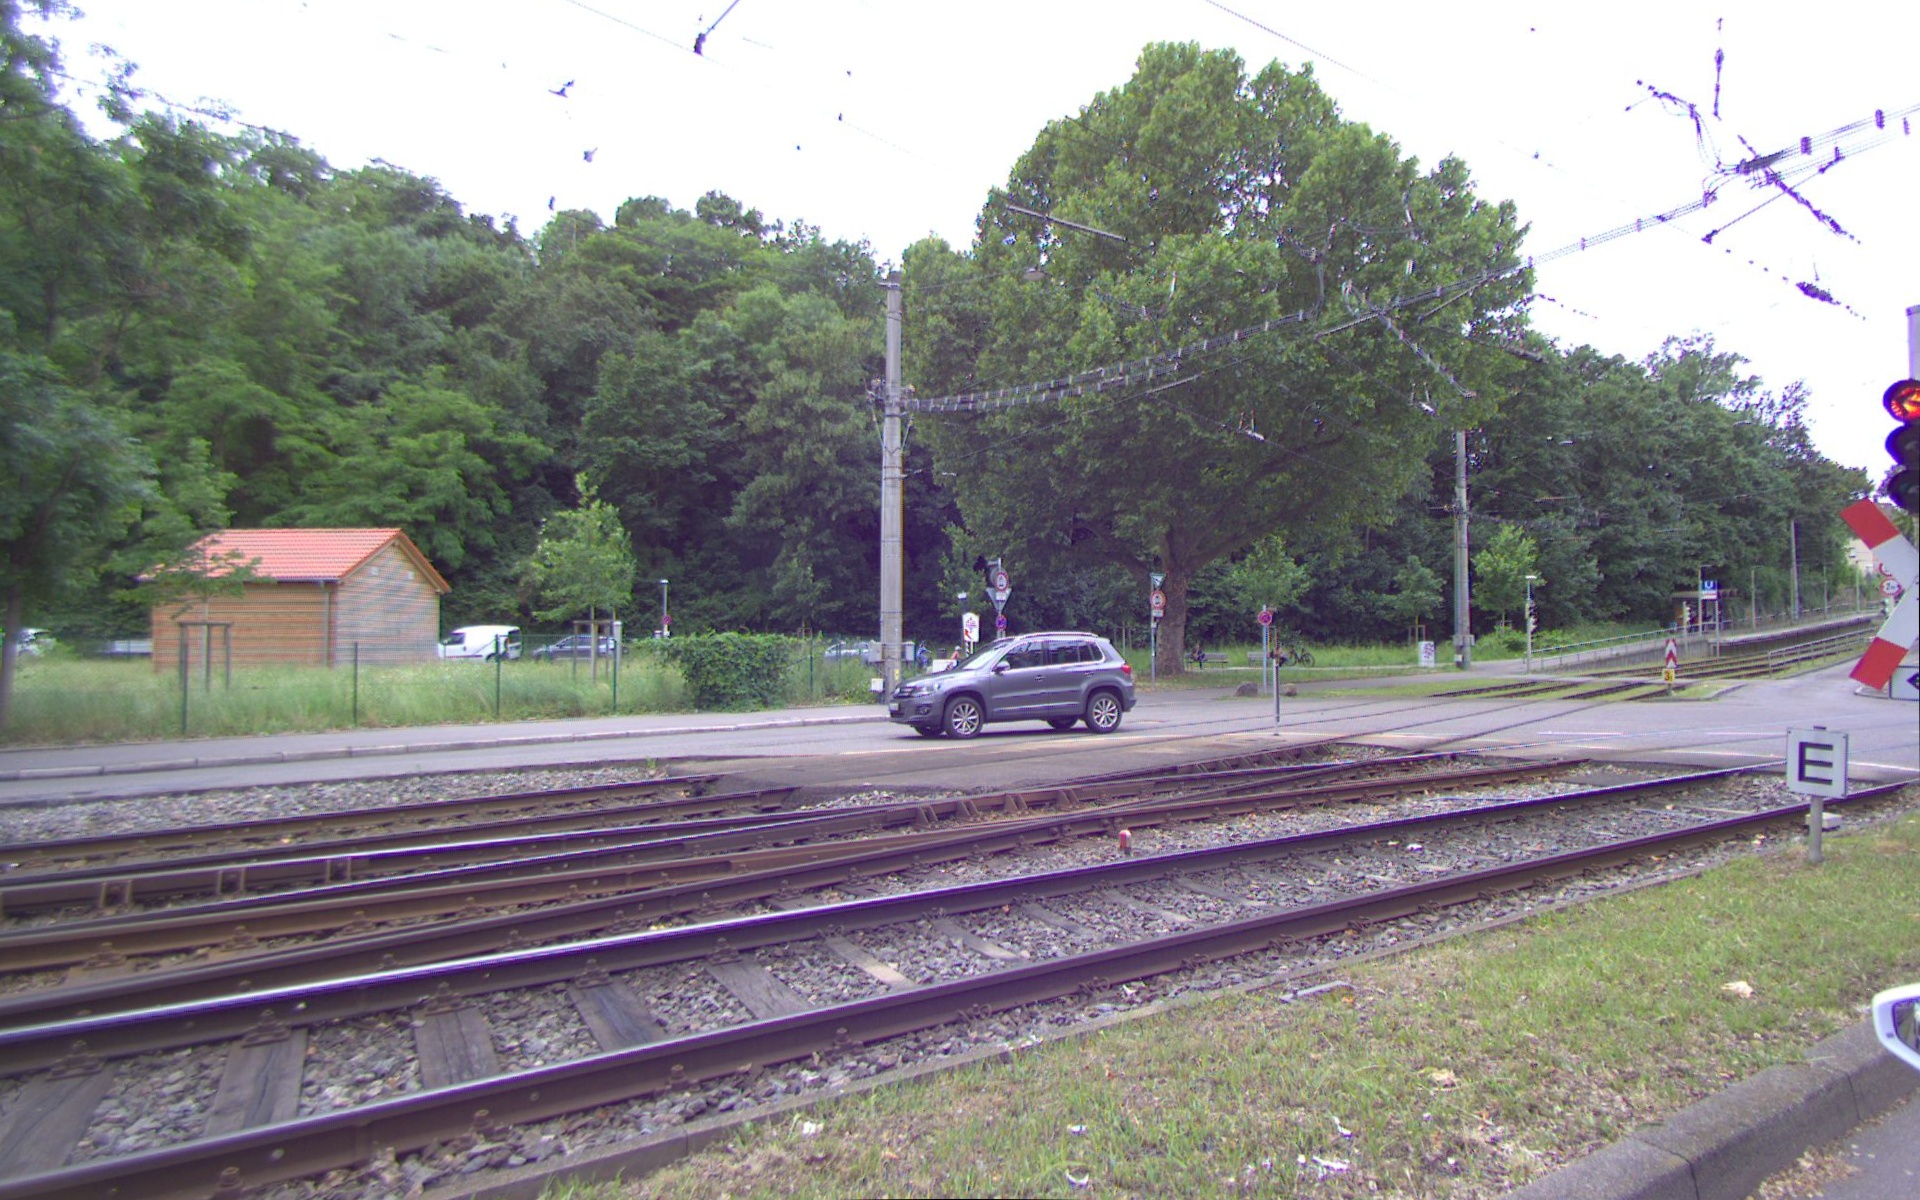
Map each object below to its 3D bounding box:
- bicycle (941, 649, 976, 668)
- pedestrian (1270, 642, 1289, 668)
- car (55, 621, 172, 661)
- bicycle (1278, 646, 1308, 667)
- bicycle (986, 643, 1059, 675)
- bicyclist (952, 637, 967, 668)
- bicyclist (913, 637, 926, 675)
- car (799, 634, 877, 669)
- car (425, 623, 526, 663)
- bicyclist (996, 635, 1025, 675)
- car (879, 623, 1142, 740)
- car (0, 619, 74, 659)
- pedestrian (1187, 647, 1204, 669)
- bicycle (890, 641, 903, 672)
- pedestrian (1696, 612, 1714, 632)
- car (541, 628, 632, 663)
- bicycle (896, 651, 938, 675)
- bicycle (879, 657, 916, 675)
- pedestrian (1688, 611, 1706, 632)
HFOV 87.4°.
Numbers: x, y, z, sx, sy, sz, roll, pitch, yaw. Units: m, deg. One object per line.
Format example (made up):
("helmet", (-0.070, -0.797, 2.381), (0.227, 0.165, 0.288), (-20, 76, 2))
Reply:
("bicycle", (-0.076, 2.637, 45.077), (1.530, 0.749, 0.454), (-2, 2, -6))
("pedestrian", (15.544, 2.664, 48.836), (0.662, 1.251, 0.578), (2, 0, -16))
("car", (-37.595, 1.817, 44.680), (3.610, 1.634, 1.757), (2, 0, -3))
("bicycle", (16.350, 2.775, 49.320), (0.611, 0.897, 1.743), (2, 0, -10))
("bicycle", (2.844, 2.671, 45.618), (3.279, 1.307, 0.735), (-1, 2, 4))
("bicyclist", (-0.022, 2.342, 45.081), (0.570, 1.319, 0.454), (-2, 2, -6))
("bicyclist", (-1.846, 2.534, 45.759), (0.612, 1.697, 0.475), (0, 2, -4))
("car", (-5.655, 2.385, 46.847), (3.436, 1.443, 1.700), (2, 0, -3))
("car", (-21.908, 1.937, 45.523), (3.610, 1.634, 1.909), (2, 0, -3))
("bicyclist", (2.310, 2.474, 45.664), (1.266, 1.734, 0.735), (-1, 2, 4))
("car", (0.848, 1.341, 17.252), (4.074, 1.740, 1.898), (-1, -3, -21))
("car", (-41.788, 1.688, 44.359), (3.612, 1.634, 1.756), (2, 0, -6))
("pedestrian", (11.327, 2.796, 48.336), (0.610, 1.003, 0.530), (2, 0, -15))
("bicycle", (-2.835, 2.521, 44.786), (0.506, 1.348, 0.454), (-1, 2, -9))
("pedestrian", (49.966, 1.476, 67.351), (0.780, 1.344, 0.766), (2, 0, -38))
("car", (-16.862, 2.038, 45.466), (3.436, 1.443, 1.700), (2, 0, -3))
("bicycle", (-1.971, 2.859, 45.754), (1.908, 1.055, 0.475), (0, 1, -5))
("bicycle", (-2.790, 2.939, 44.810), (1.622, 0.749, 0.454), (-1, 2, -9))
("pedestrian", (48.994, 1.444, 66.813), (0.780, 1.344, 0.766), (-1, 2, -37))
